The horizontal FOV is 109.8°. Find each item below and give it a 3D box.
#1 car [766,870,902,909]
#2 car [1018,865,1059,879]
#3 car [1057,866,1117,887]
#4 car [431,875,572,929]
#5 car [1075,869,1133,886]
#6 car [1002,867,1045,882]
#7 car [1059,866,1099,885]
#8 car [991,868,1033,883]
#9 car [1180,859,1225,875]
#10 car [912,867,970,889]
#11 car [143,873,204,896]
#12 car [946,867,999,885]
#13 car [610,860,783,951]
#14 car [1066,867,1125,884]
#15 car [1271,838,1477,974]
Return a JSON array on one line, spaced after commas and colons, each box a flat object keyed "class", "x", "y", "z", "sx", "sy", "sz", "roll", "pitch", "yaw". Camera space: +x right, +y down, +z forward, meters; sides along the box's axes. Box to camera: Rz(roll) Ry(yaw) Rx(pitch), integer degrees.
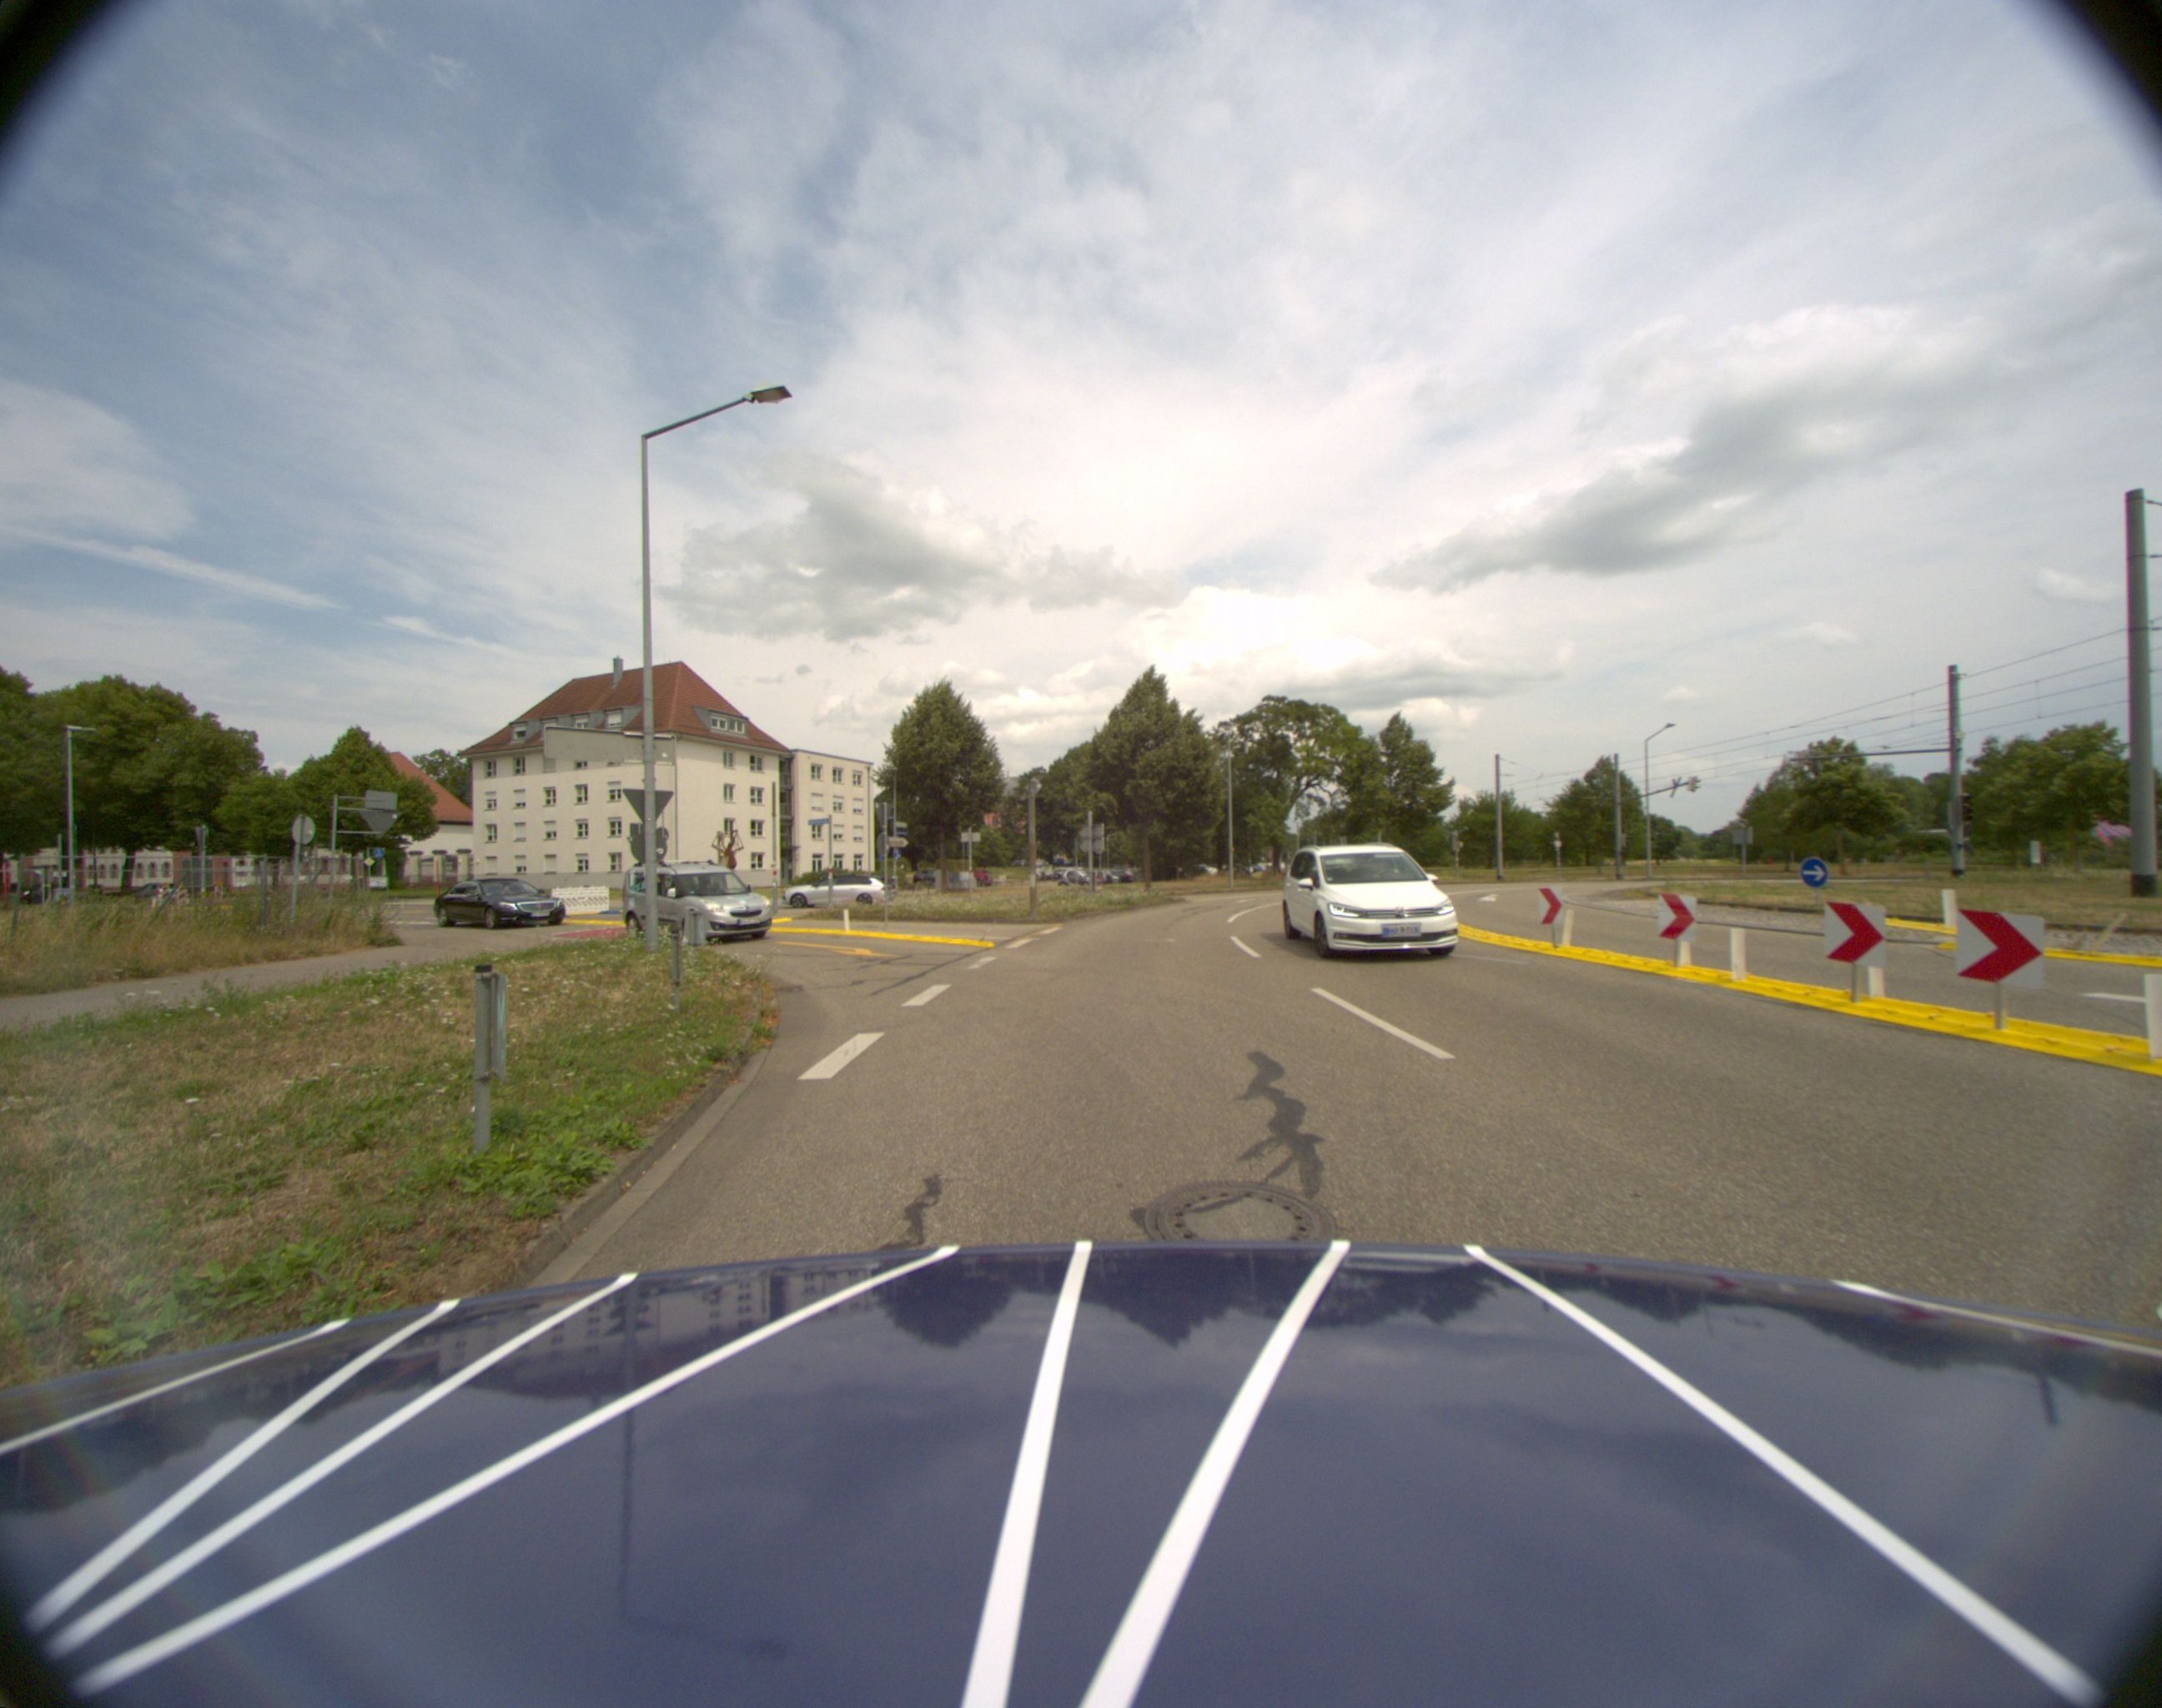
[{"class": "car", "x": -10.481, "y": 1.503, "z": 32.567, "sx": 5.181, "sy": 1.473, "sz": 2.000, "roll": -1, "pitch": 0, "yaw": -3}, {"class": "car", "x": -4.669, "y": 1.955, "z": 83.214, "sx": 3.998, "sy": 1.459, "sz": 1.820, "roll": -1, "pitch": 0, "yaw": 21}, {"class": "car", "x": 0.522, "y": 1.890, "z": 64.473, "sx": 4.697, "sy": 1.462, "sz": 1.836, "roll": -3, "pitch": -1, "yaw": 20}, {"class": "car", "x": -18.299, "y": 1.492, "z": 23.936, "sx": 4.857, "sy": 1.495, "sz": 1.822, "roll": -2, "pitch": -1, "yaw": 31}, {"class": "car", "x": 2.095, "y": 2.109, "z": 69.425, "sx": 4.877, "sy": 1.462, "sz": 1.836, "roll": -1, "pitch": 0, "yaw": 23}, {"class": "car", "x": -6.029, "y": 2.174, "z": 79.573, "sx": 3.998, "sy": 1.459, "sz": 1.820, "roll": -2, "pitch": 0, "yaw": 21}, {"class": "car", "x": -0.182, "y": 1.780, "z": 62.016, "sx": 2.911, "sy": 1.414, "sz": 1.486, "roll": -3, "pitch": -2, "yaw": 16}, {"class": "car", "x": -7.049, "y": 2.177, "z": 77.680, "sx": 3.998, "sy": 1.459, "sz": 1.618, "roll": -1, "pitch": 0, "yaw": 21}, {"class": "car", "x": 16.204, "y": 1.757, "z": 101.350, "sx": 5.557, "sy": 2.044, "sz": 2.205, "roll": -1, "pitch": 0, "yaw": 23}, {"class": "car", "x": -11.990, "y": 2.067, "z": 65.174, "sx": 4.490, "sy": 1.754, "sz": 2.003, "roll": -1, "pitch": 0, "yaw": 21}, {"class": "car", "x": -63.864, "y": 2.137, "z": 53.481, "sx": 4.208, "sy": 1.510, "sz": 1.632, "roll": -2, "pitch": -1, "yaw": 24}, {"class": "car", "x": -10.071, "y": 2.069, "z": 70.340, "sx": 4.397, "sy": 1.588, "sz": 2.003, "roll": -1, "pitch": 0, "yaw": 23}, {"class": "car", "x": -9.312, "y": 1.146, "z": 18.273, "sx": 4.571, "sy": 1.936, "sz": 1.815, "roll": -1, "pitch": 0, "yaw": 36}, {"class": "car", "x": 1.292, "y": 1.887, "z": 67.152, "sx": 4.877, "sy": 1.462, "sz": 1.836, "roll": -1, "pitch": 0, "yaw": 23}, {"class": "car", "x": 4.288, "y": 0.676, "z": 11.920, "sx": 1.936, "sy": 1.656, "sz": 4.358, "roll": -3, "pitch": 0, "yaw": 7}]
